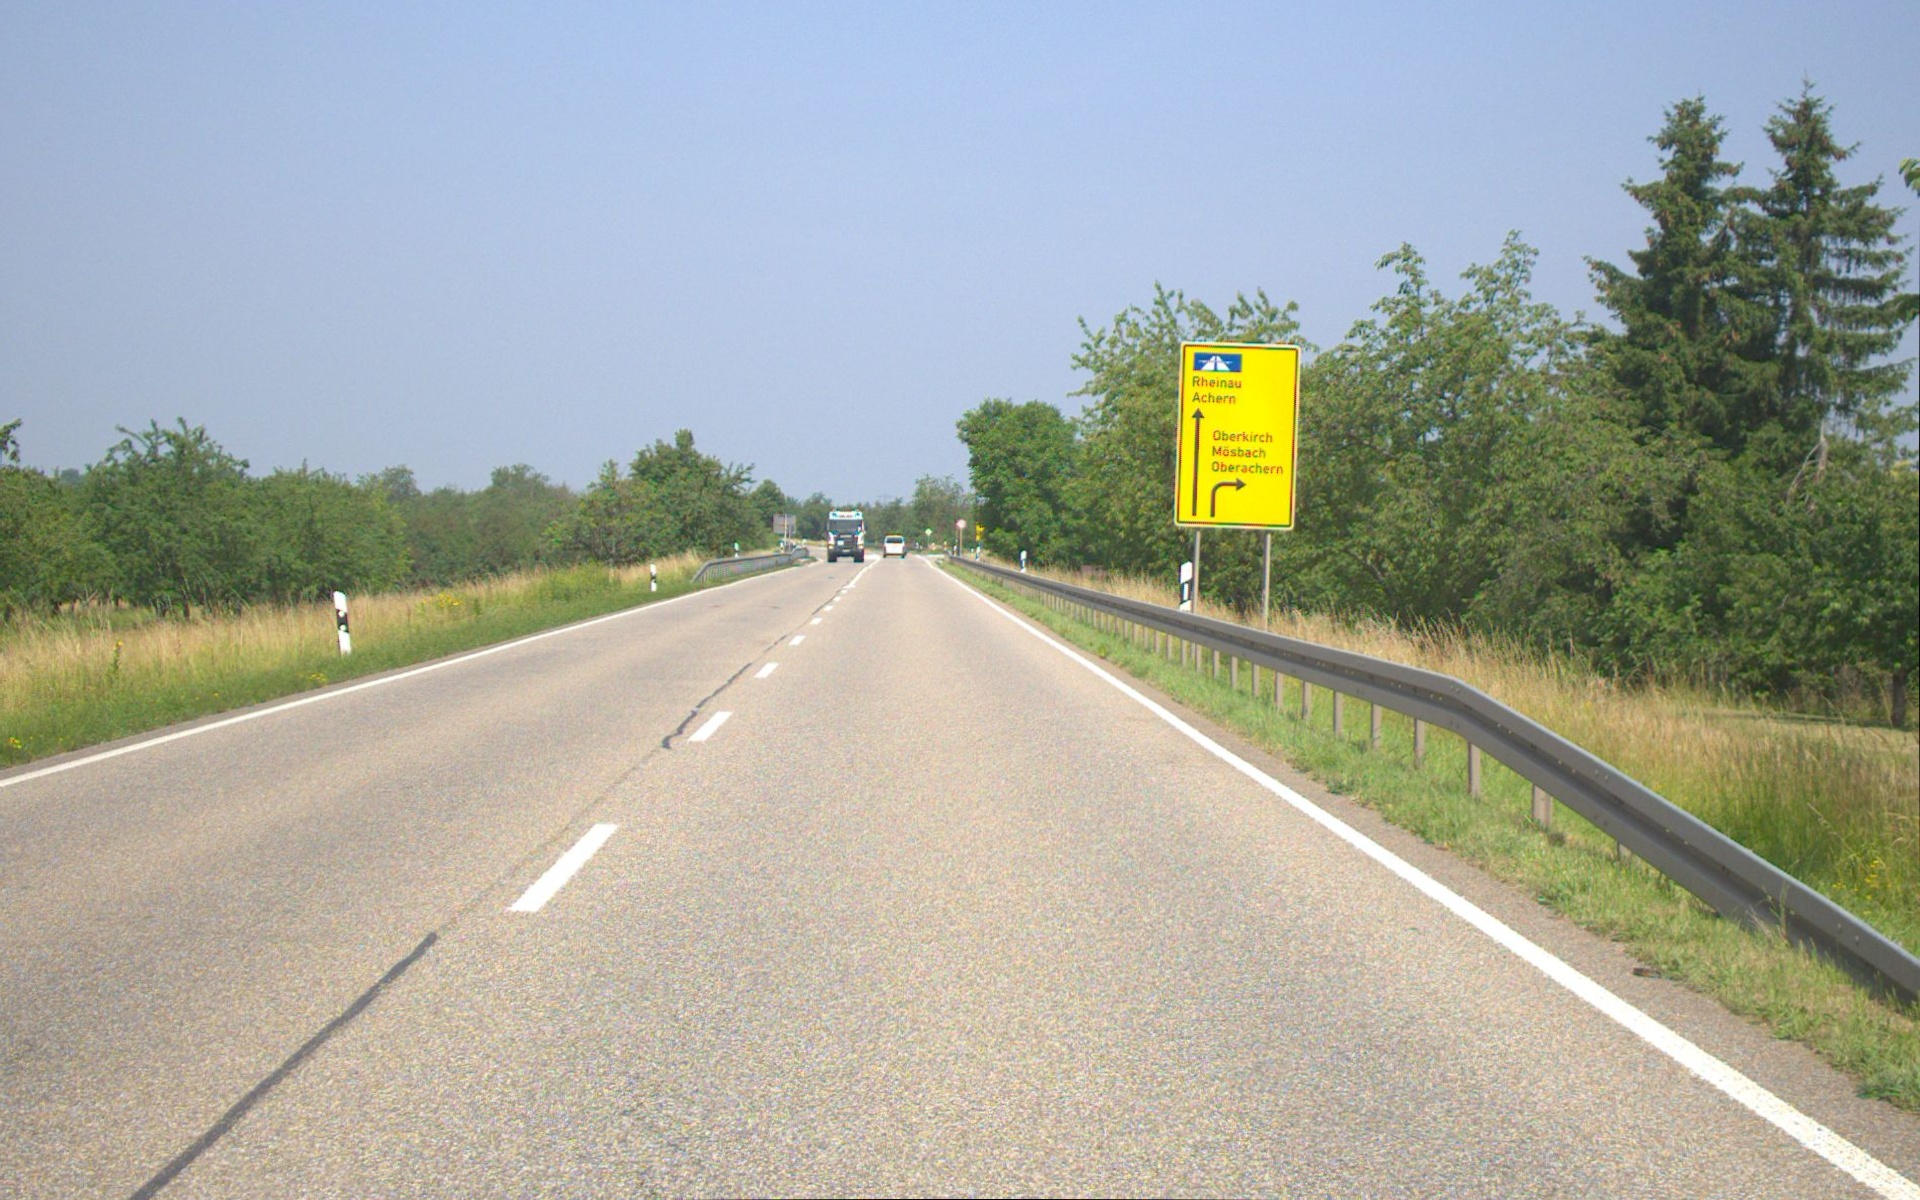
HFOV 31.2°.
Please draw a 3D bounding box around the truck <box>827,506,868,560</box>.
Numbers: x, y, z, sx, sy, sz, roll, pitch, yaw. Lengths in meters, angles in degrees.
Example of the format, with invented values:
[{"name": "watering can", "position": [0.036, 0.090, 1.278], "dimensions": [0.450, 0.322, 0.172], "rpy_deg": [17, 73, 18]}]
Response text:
[{"name": "truck", "position": [-7.812, -4.632, 239.360], "dimensions": [2.728, 3.659, 9.384], "rpy_deg": [1, 1, -1]}]
